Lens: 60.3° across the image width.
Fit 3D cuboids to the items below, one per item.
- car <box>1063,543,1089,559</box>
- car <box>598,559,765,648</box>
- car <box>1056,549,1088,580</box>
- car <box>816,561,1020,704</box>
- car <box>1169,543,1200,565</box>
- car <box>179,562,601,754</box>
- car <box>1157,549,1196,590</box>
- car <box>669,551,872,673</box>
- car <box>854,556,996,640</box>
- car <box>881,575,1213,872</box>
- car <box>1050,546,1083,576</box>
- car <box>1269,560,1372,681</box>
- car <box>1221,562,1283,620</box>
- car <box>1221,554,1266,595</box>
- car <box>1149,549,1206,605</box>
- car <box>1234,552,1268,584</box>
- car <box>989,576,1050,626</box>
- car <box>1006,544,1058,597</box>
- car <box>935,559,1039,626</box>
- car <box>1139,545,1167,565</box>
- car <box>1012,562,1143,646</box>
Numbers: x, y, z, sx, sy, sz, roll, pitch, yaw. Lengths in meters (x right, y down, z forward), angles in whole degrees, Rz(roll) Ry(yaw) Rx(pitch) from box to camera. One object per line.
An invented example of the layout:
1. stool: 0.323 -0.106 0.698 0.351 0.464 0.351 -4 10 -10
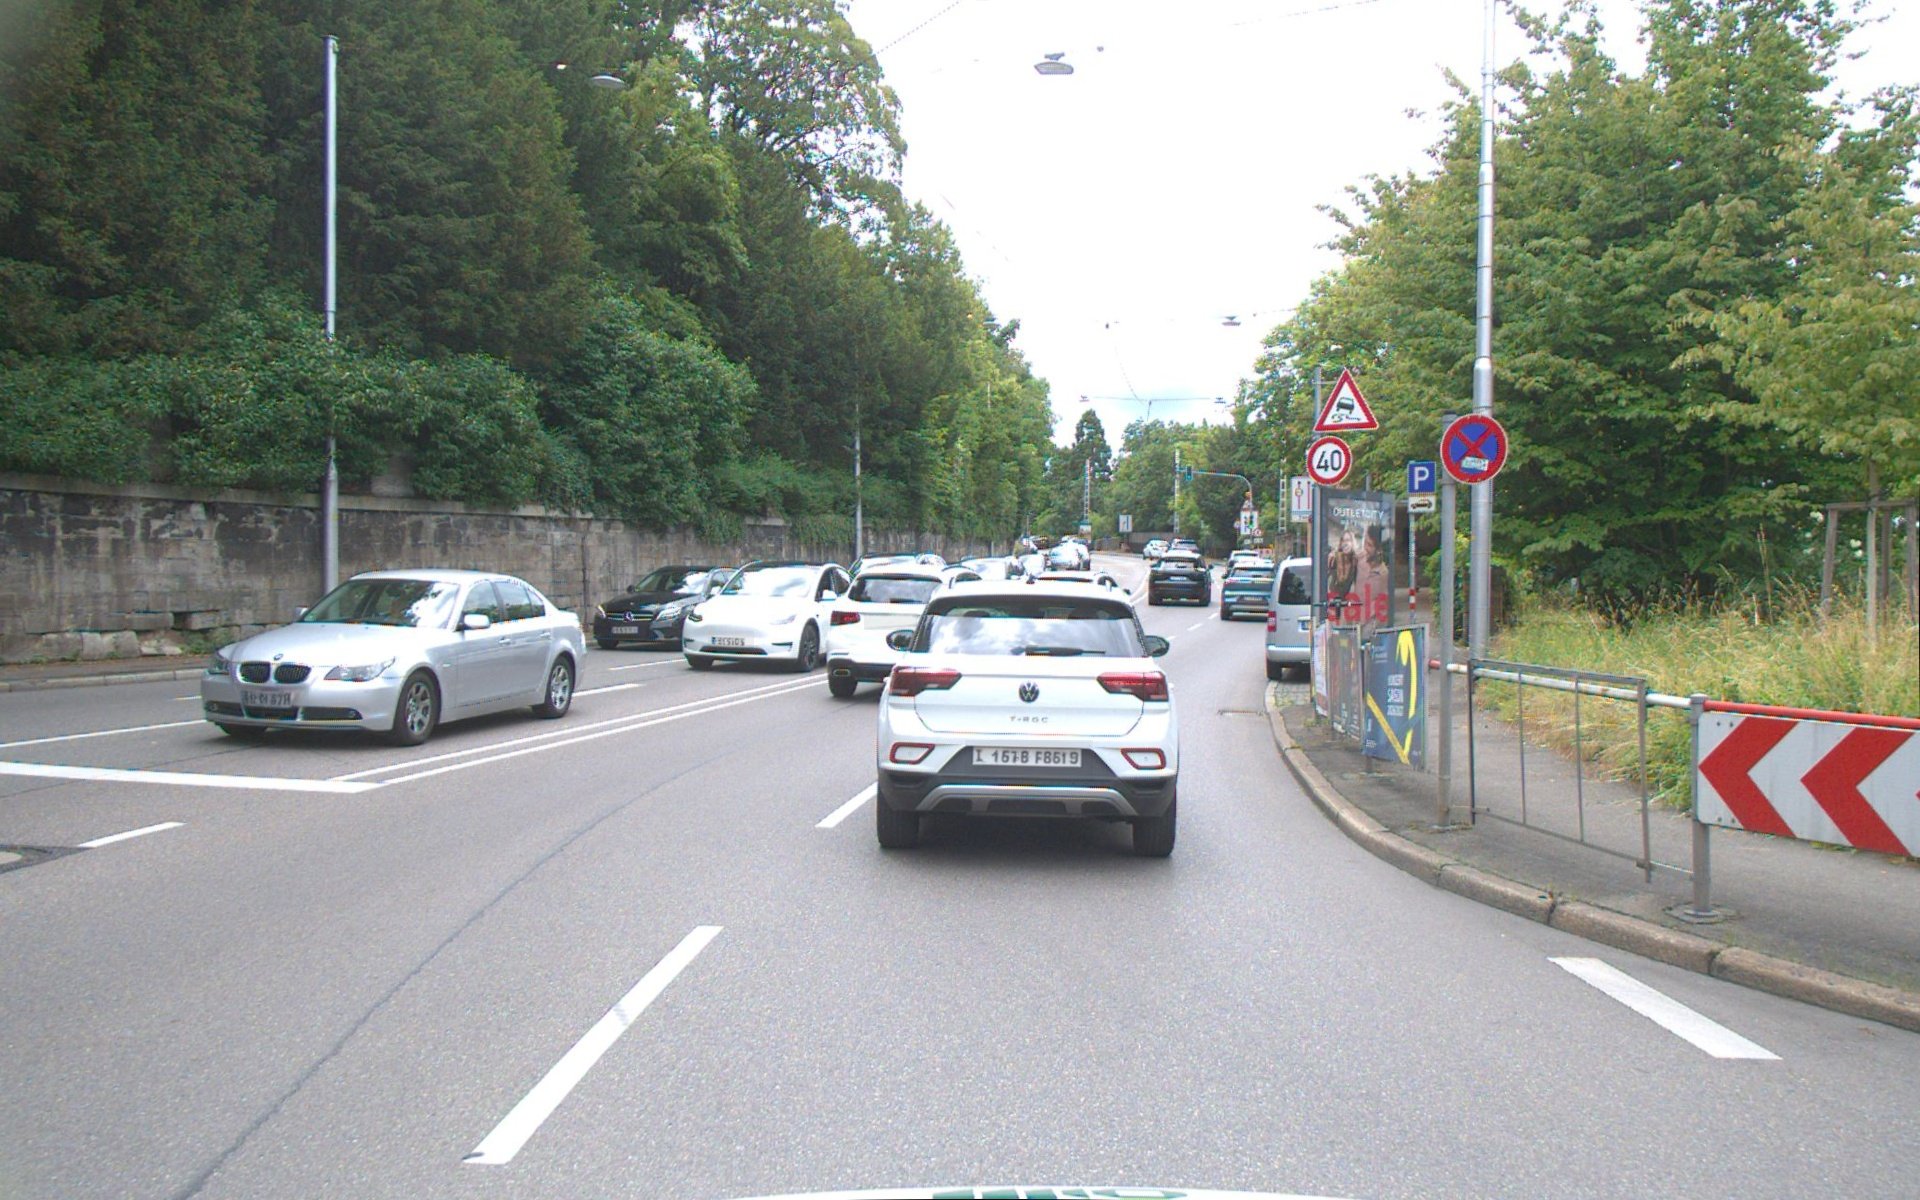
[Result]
1. car: 10.579 -4.457 150.592 1.616 1.476 3.539 0 1 -9
2. car: -5.074 0.012 30.652 1.677 1.513 3.973 1 2 12
3. car: 6.403 -2.035 94.299 1.721 1.737 3.825 1 1 6
4. car: -0.421 0.326 21.759 1.819 1.633 4.675 1 1 9
5. car: 15.203 -3.114 112.179 1.613 1.476 3.546 0 1 0
6. car: -5.106 0.424 15.573 1.719 1.467 4.484 2 1 11
7. car: 10.198 -1.448 78.208 1.599 1.851 4.003 -1 1 5
8. car: -2.856 0.140 25.978 1.951 1.665 4.402 3 1 10
9. car: -0.652 -0.080 34.960 1.853 1.594 4.483 3 1 14
10. car: 0.370 0.625 11.007 1.720 1.580 4.334 0 1 -4
11. car: 5.480 -2.008 84.786 1.612 1.476 3.549 1 2 5
12. car: 5.656 0.262 26.191 1.462 1.779 3.121 1 1 10
13. car: 8.130 -0.283 46.276 1.593 1.444 3.859 2 2 9
14. car: 10.654 -0.979 62.299 1.593 1.363 3.859 2 3 9
15. car: 7.140 -0.788 54.520 1.750 1.664 3.740 2 3 6
16. car: 13.795 -1.535 78.627 1.467 1.350 3.859 2 3 9
17. car: 1.982 0.017 54.493 1.615 1.544 3.854 2 0 7
18. car: 2.915 -1.186 66.396 1.696 2.048 3.936 1 1 8
19. car: 0.724 -0.228 40.673 1.778 1.465 4.066 2 2 12
20. car: 14.582 -3.419 125.227 1.613 1.476 3.545 0 1 -2
21. car: 2.490 0.022 33.775 1.825 1.560 4.781 2 1 14
